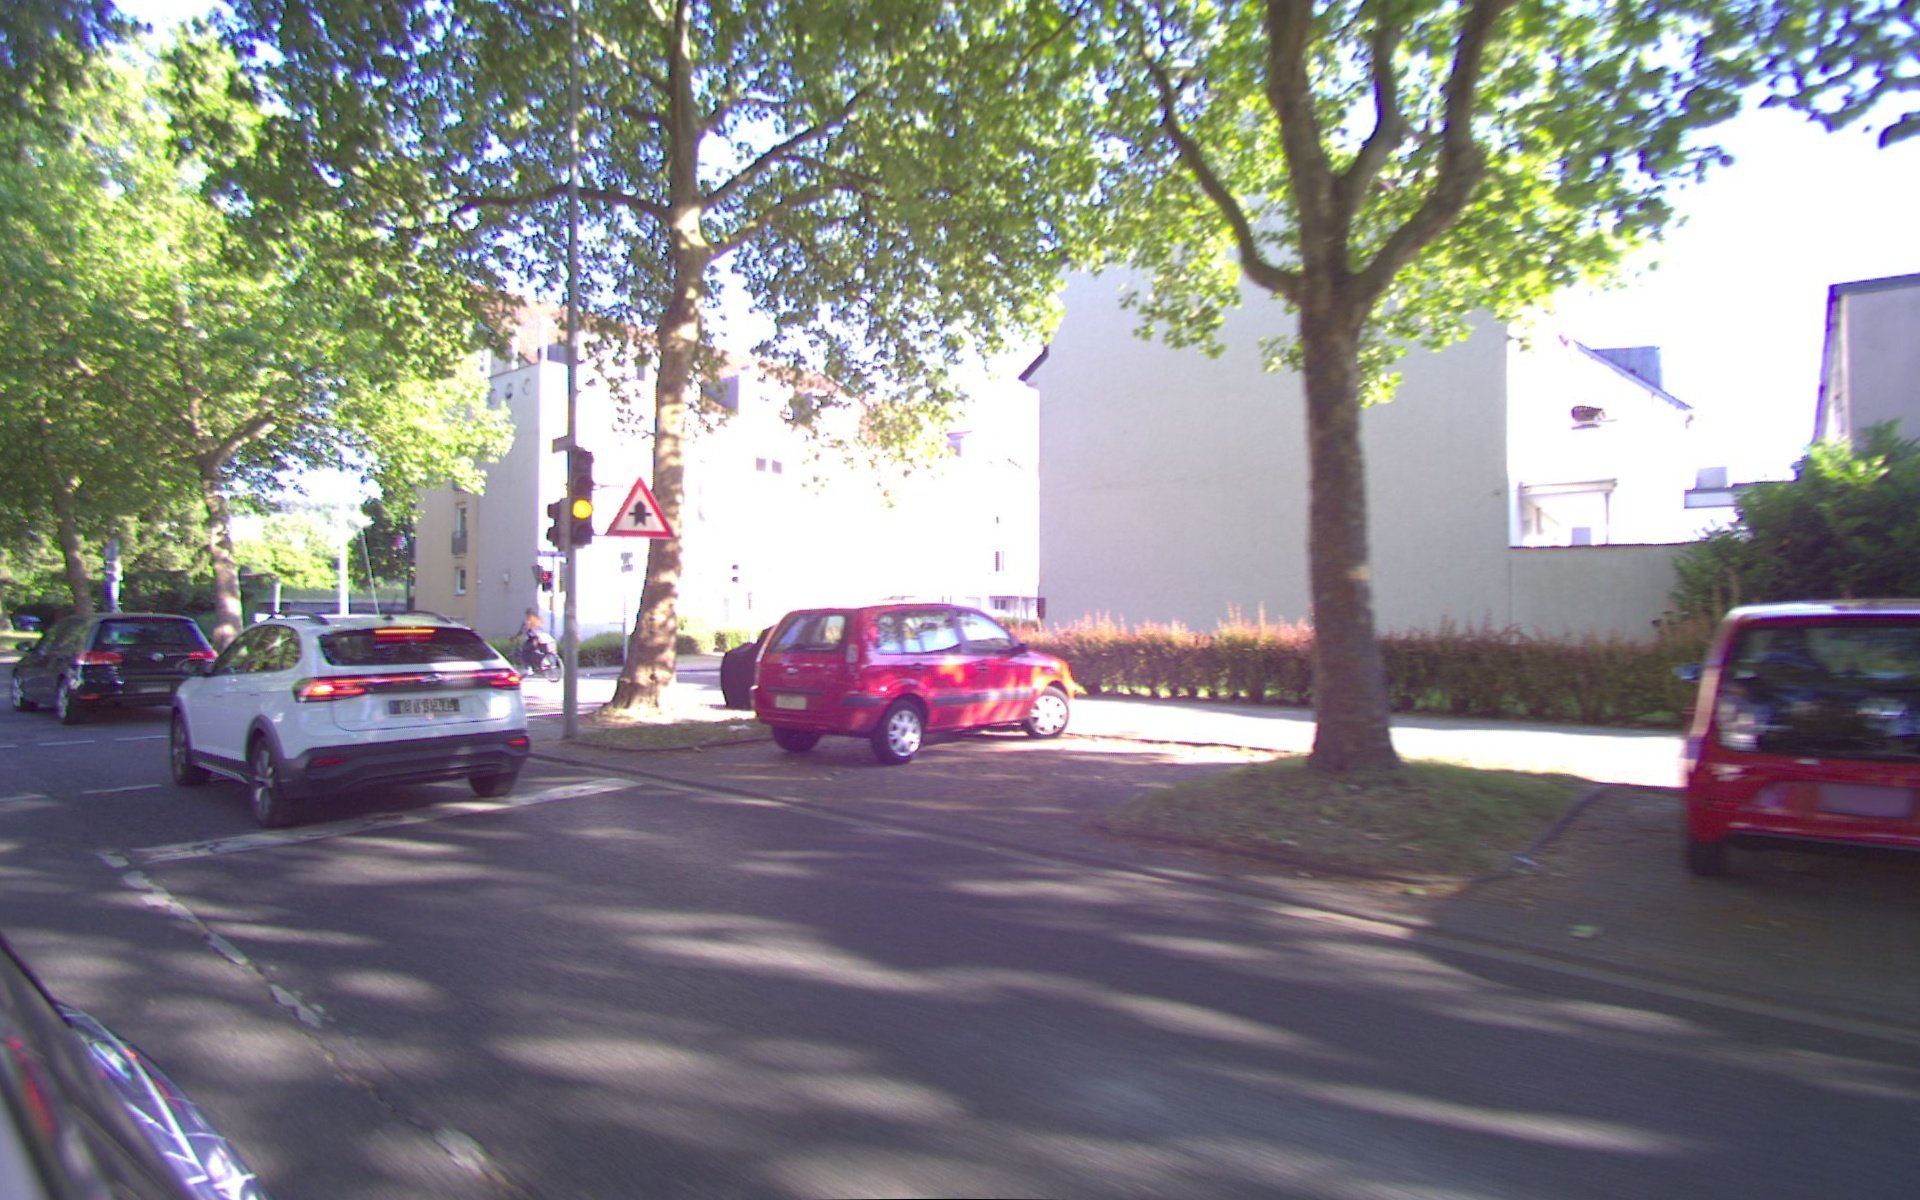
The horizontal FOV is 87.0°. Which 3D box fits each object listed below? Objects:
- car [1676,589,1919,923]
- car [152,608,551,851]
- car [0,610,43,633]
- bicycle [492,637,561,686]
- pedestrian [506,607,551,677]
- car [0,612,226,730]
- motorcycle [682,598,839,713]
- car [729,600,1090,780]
[{"bbox_3d":[5.304,0.693,5.825,1.694,1.491,3.306,-1,0,39],"label":"car"},{"bbox_3d":[-5.138,0.830,8.310,4.093,1.512,1.698,-1,-1,42],"label":"car"},{"bbox_3d":[-64.772,1.485,69.653,3.994,1.541,1.791,-1,0,38],"label":"car"},{"bbox_3d":[-9.986,1.392,23.279,2.150,1.049,0.504,0,-1,39],"label":"bicycle"},{"bbox_3d":[-9.912,0.949,23.244,1.033,1.543,0.504,2,0,39],"label":"pedestrian"},{"bbox_3d":[-12.316,0.921,14.595,4.062,1.475,1.710,0,-2,38],"label":"car"},{"bbox_3d":[-3.102,0.852,15.637,2.383,1.650,0.971,-3,-3,34],"label":"motorcycle"},{"bbox_3d":[-0.379,0.789,10.719,1.829,1.546,3.727,-1,-1,39],"label":"car"}]
